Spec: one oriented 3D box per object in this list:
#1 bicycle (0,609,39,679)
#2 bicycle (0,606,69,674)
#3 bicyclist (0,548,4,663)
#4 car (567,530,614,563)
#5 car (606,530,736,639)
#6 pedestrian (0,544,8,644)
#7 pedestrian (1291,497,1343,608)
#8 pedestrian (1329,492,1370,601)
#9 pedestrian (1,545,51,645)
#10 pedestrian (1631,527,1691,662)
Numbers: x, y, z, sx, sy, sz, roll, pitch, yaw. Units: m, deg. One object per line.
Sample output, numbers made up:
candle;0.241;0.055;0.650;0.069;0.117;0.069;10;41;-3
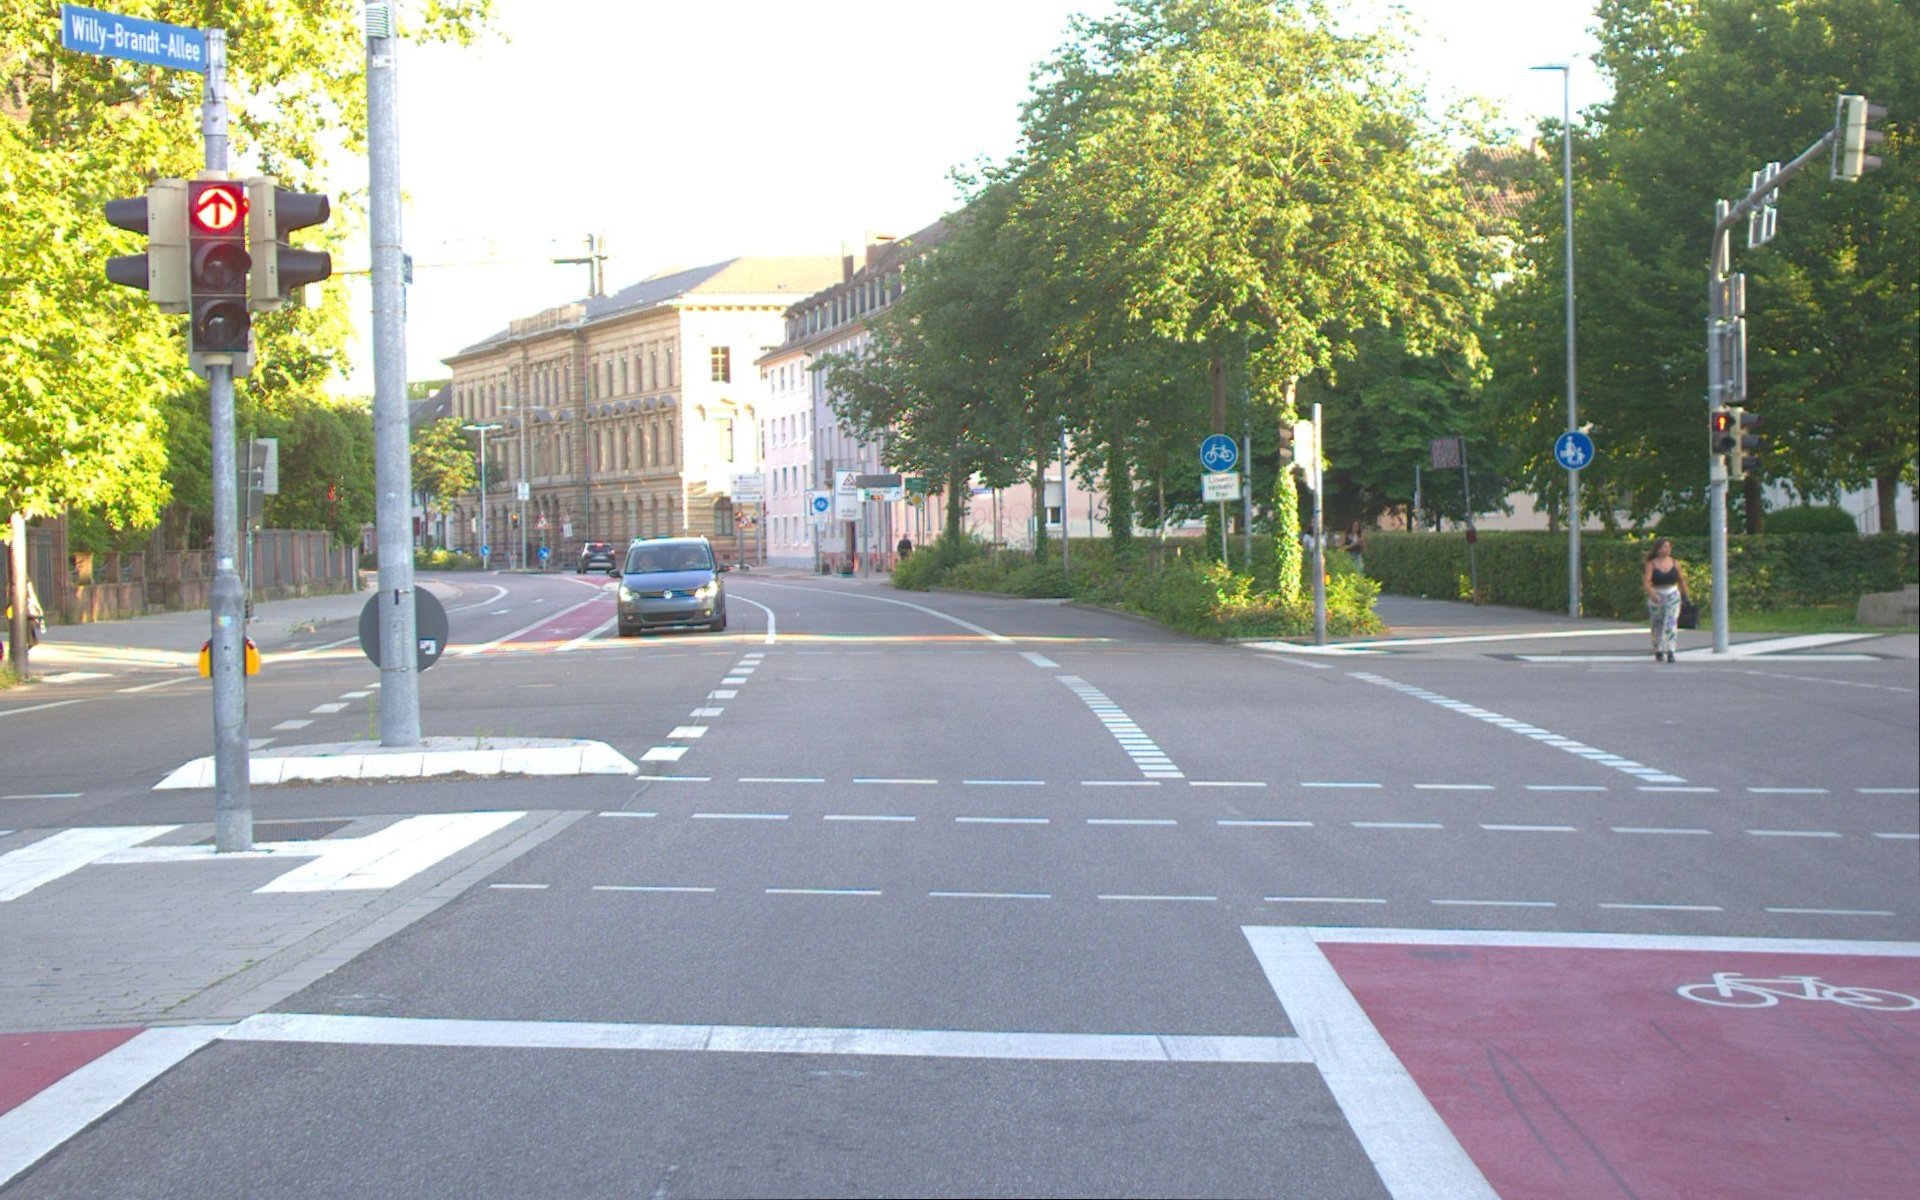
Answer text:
bicycle;-13.865;0.608;46.817;2.430;0.921;0.775;-1;1;1
bicycle;-13.860;0.577;48.348;2.430;0.921;0.775;-1;1;1
bicyclist;-14.039;0.092;48.334;0.958;1.625;0.753;-1;1;1
car;-18.922;-2.750;176.039;1.819;1.583;4.001;-2;1;-14
car;-4.909;-0.297;58.881;1.849;1.714;4.296;-3;1;-1
pedestrian;-15.629;-0.090;55.135;0.535;1.591;0.590;-1;1;0
pedestrian;6.492;-0.864;62.569;0.870;2.007;0.722;0;1;0
pedestrian;7.175;-0.986;63.315;0.635;2.007;0.720;0;1;-4
pedestrian;-14.948;-0.084;55.013;0.599;1.568;0.646;-1;1;0
pedestrian;8.590;-0.070;42.141;0.599;1.630;0.691;0;2;1
